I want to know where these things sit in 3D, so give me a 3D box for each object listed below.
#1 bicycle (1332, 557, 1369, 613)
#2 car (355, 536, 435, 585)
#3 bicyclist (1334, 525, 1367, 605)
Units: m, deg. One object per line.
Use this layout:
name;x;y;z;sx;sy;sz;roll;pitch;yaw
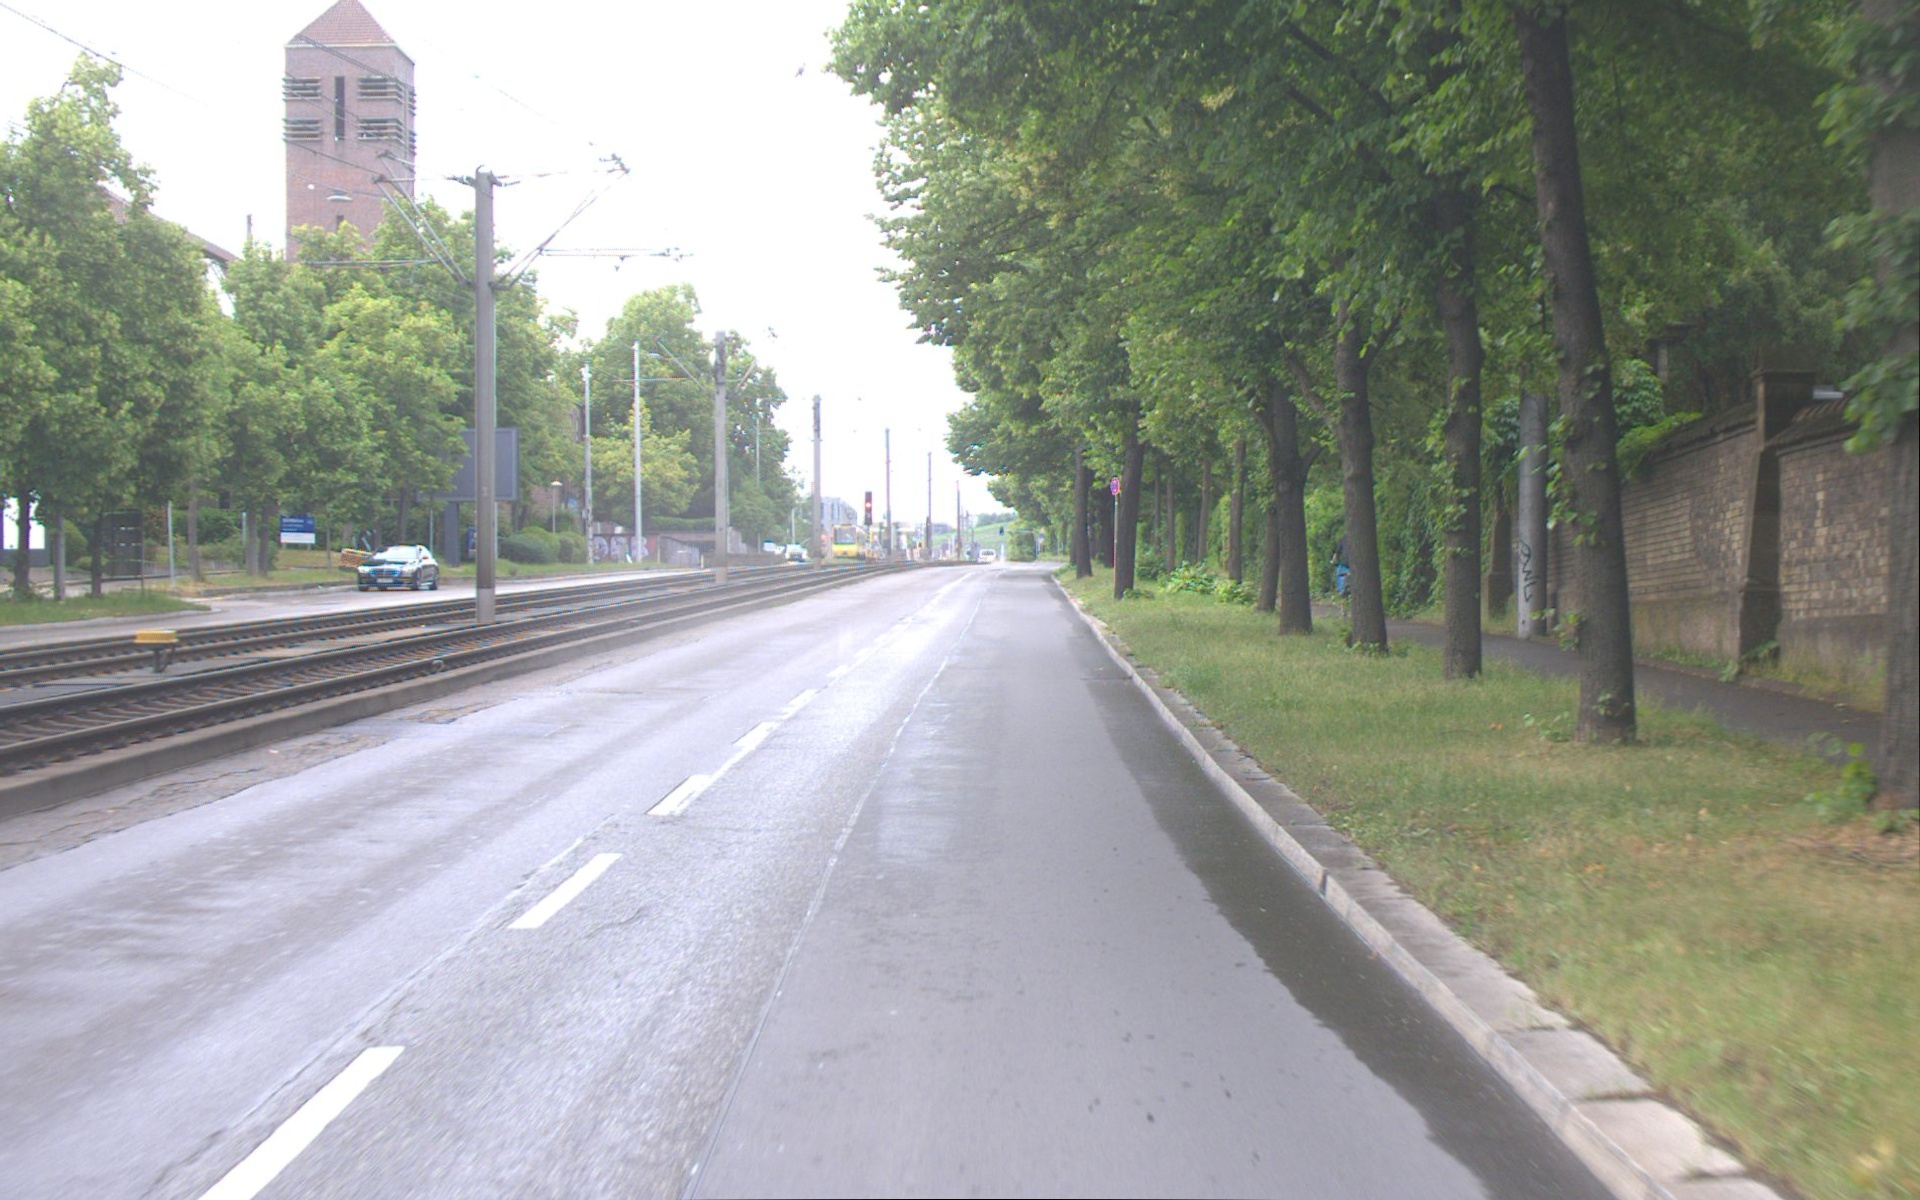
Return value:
bicycle;6.796;-0.279;59.921;0.543;0.945;2.549;0;1;4
car;-17.959;-1.277;109.468;1.794;1.525;4.622;0;1;0
bicyclist;6.829;-0.613;60.100;0.535;1.385;0.666;0;1;4
